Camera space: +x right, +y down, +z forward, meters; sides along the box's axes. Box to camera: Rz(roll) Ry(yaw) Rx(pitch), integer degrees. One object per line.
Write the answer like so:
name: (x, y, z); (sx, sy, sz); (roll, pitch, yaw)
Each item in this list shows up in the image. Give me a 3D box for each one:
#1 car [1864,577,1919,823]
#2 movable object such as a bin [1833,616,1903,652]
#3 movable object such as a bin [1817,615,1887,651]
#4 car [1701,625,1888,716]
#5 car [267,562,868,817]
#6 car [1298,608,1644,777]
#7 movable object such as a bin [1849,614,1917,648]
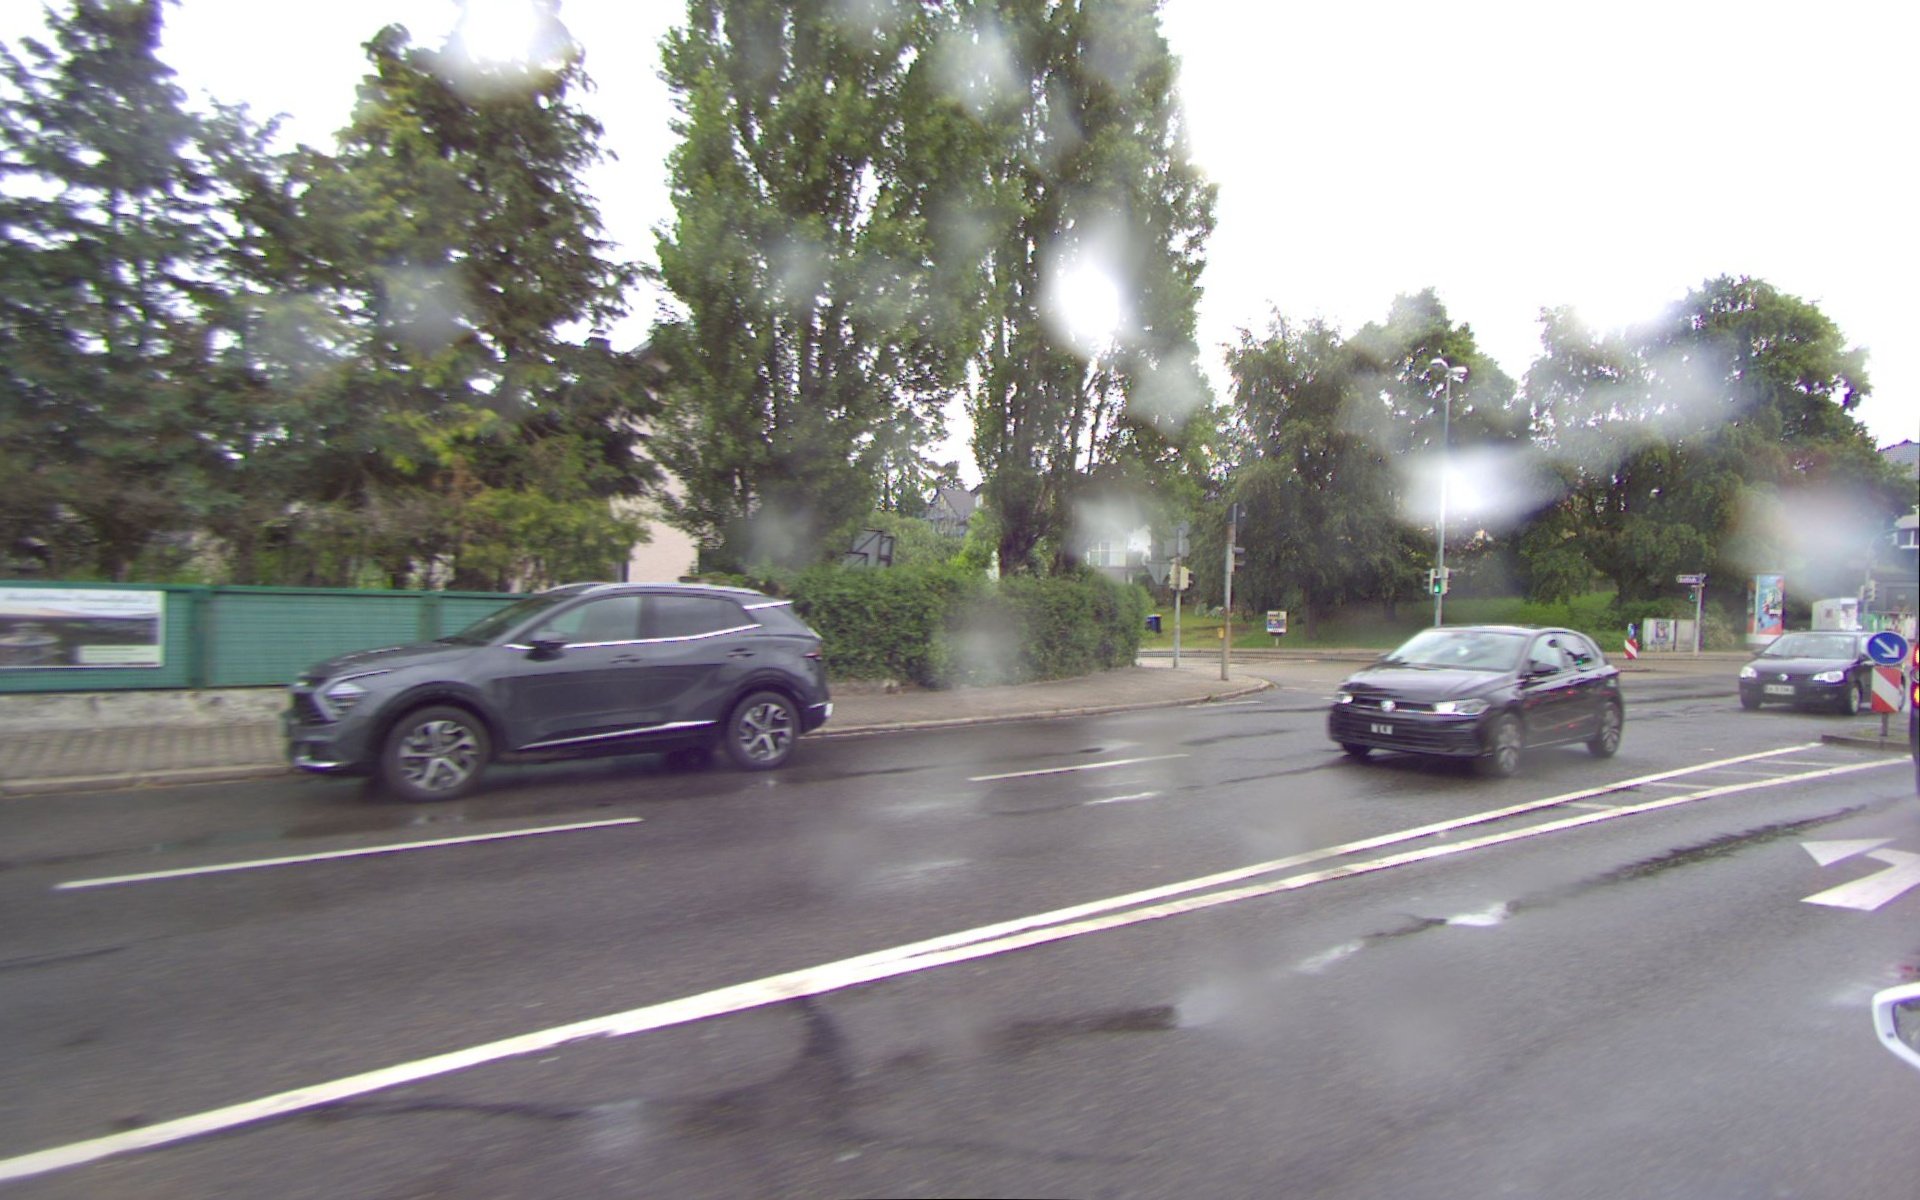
car: (9.698, 0.828, 8.510); (4.696, 1.895, 1.940); (2, -1, -34)
movable object such as a bin: (43.144, 1.584, 47.761); (1.560, 1.590, 2.052); (-1, 0, -25)
movable object such as a bin: (41.787, 1.521, 47.080); (1.560, 1.590, 2.052); (-1, 0, -25)
car: (15.713, 1.247, 18.858); (3.963, 1.483, 1.839); (1, 0, -37)
car: (-3.234, 0.675, 8.766); (4.556, 1.691, 1.792); (3, -1, -37)
car: (5.652, 0.905, 10.966); (3.960, 1.522, 1.701); (2, -1, -35)
movable object such as a bin: (44.458, 1.472, 48.400); (1.325, 1.535, 2.052); (-1, 0, -25)
